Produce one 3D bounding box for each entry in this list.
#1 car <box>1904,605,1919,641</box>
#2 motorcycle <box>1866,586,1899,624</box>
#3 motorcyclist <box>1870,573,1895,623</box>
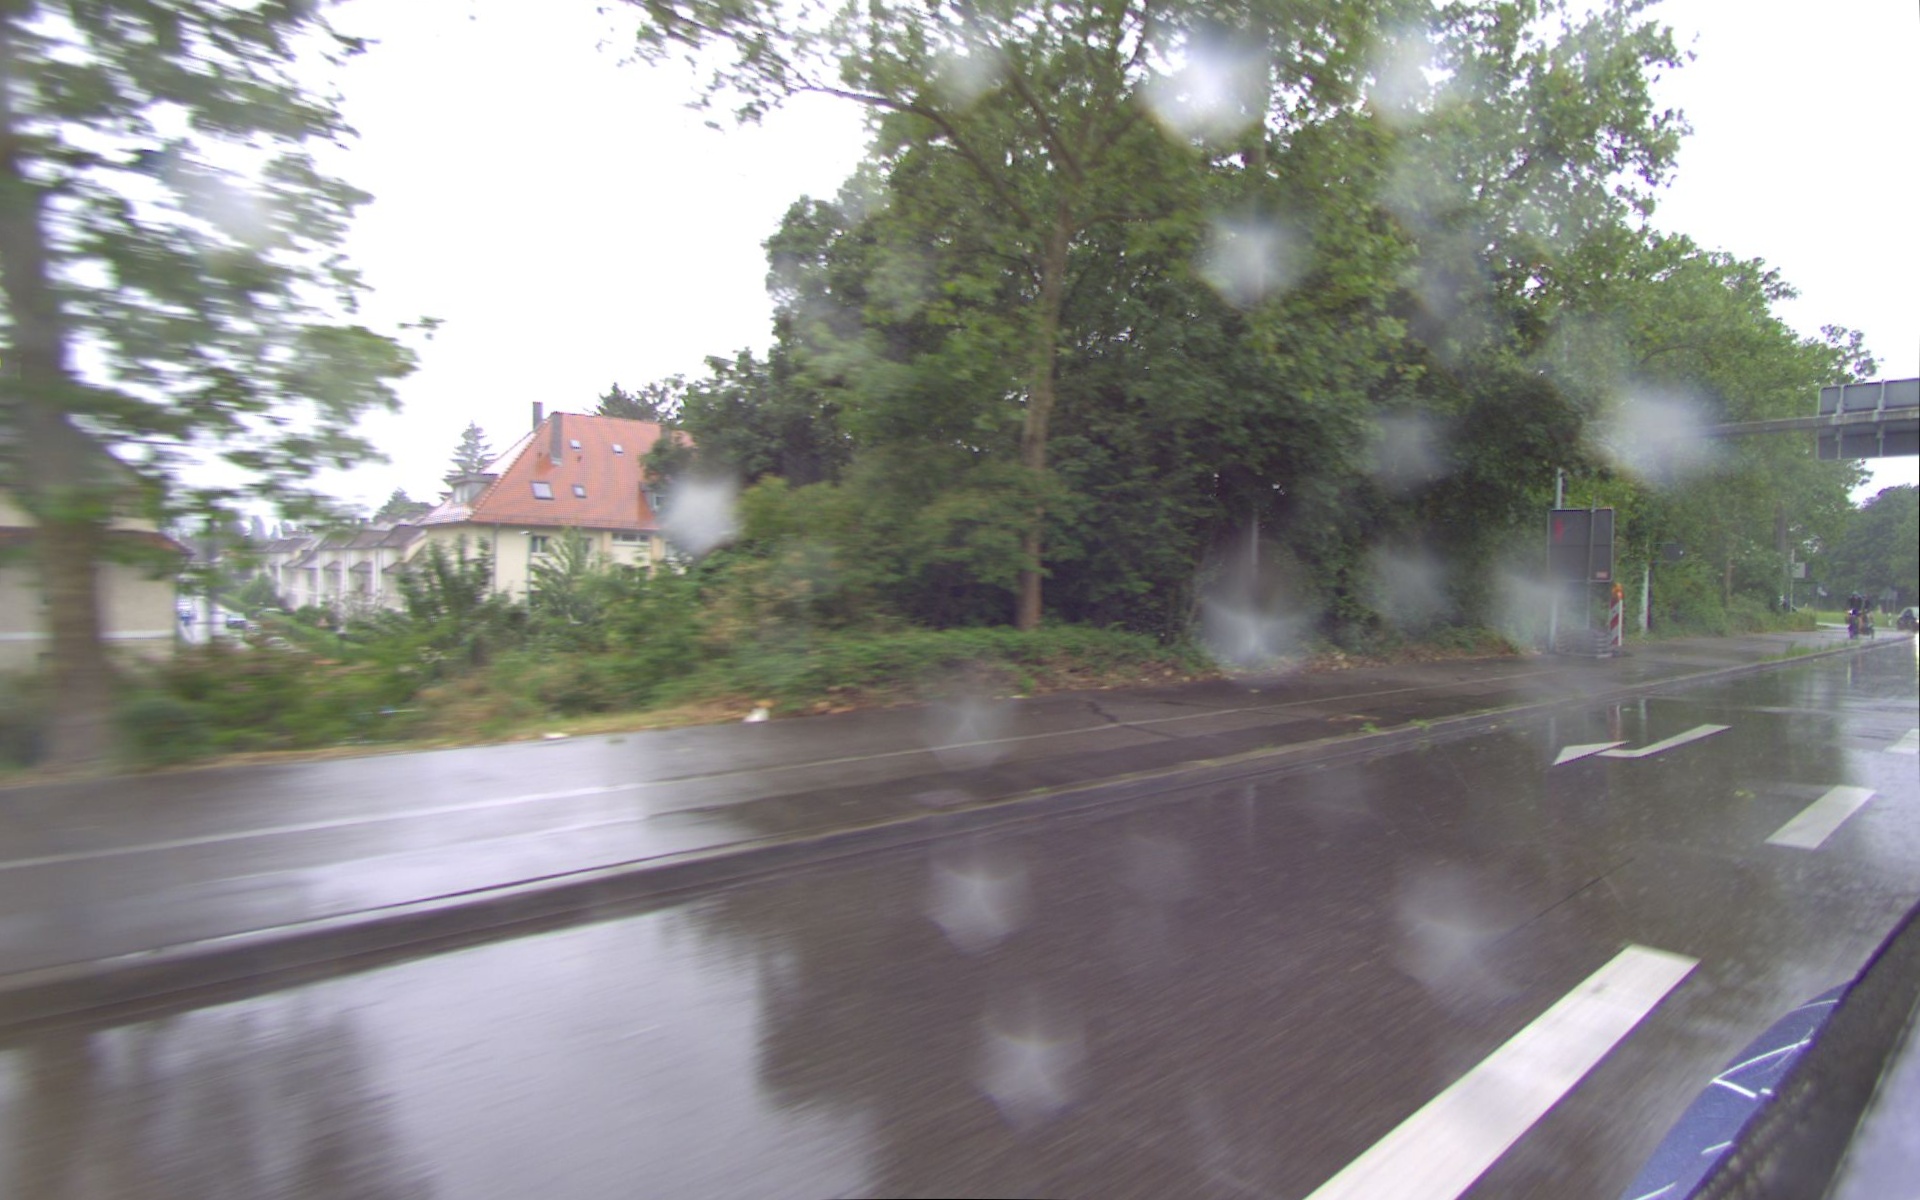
[{"bbox_3d":[55.797,1.325,57.616,1.981,2.039,3.961,1,1,28],"label":"car"},{"bbox_3d":[43.096,0.209,47.270,2.541,1.742,0.844,0,0,-42],"label":"motorcycle"},{"bbox_3d":[43.043,-0.089,47.217,0.900,2.287,0.762,0,1,-41],"label":"motorcyclist"}]
